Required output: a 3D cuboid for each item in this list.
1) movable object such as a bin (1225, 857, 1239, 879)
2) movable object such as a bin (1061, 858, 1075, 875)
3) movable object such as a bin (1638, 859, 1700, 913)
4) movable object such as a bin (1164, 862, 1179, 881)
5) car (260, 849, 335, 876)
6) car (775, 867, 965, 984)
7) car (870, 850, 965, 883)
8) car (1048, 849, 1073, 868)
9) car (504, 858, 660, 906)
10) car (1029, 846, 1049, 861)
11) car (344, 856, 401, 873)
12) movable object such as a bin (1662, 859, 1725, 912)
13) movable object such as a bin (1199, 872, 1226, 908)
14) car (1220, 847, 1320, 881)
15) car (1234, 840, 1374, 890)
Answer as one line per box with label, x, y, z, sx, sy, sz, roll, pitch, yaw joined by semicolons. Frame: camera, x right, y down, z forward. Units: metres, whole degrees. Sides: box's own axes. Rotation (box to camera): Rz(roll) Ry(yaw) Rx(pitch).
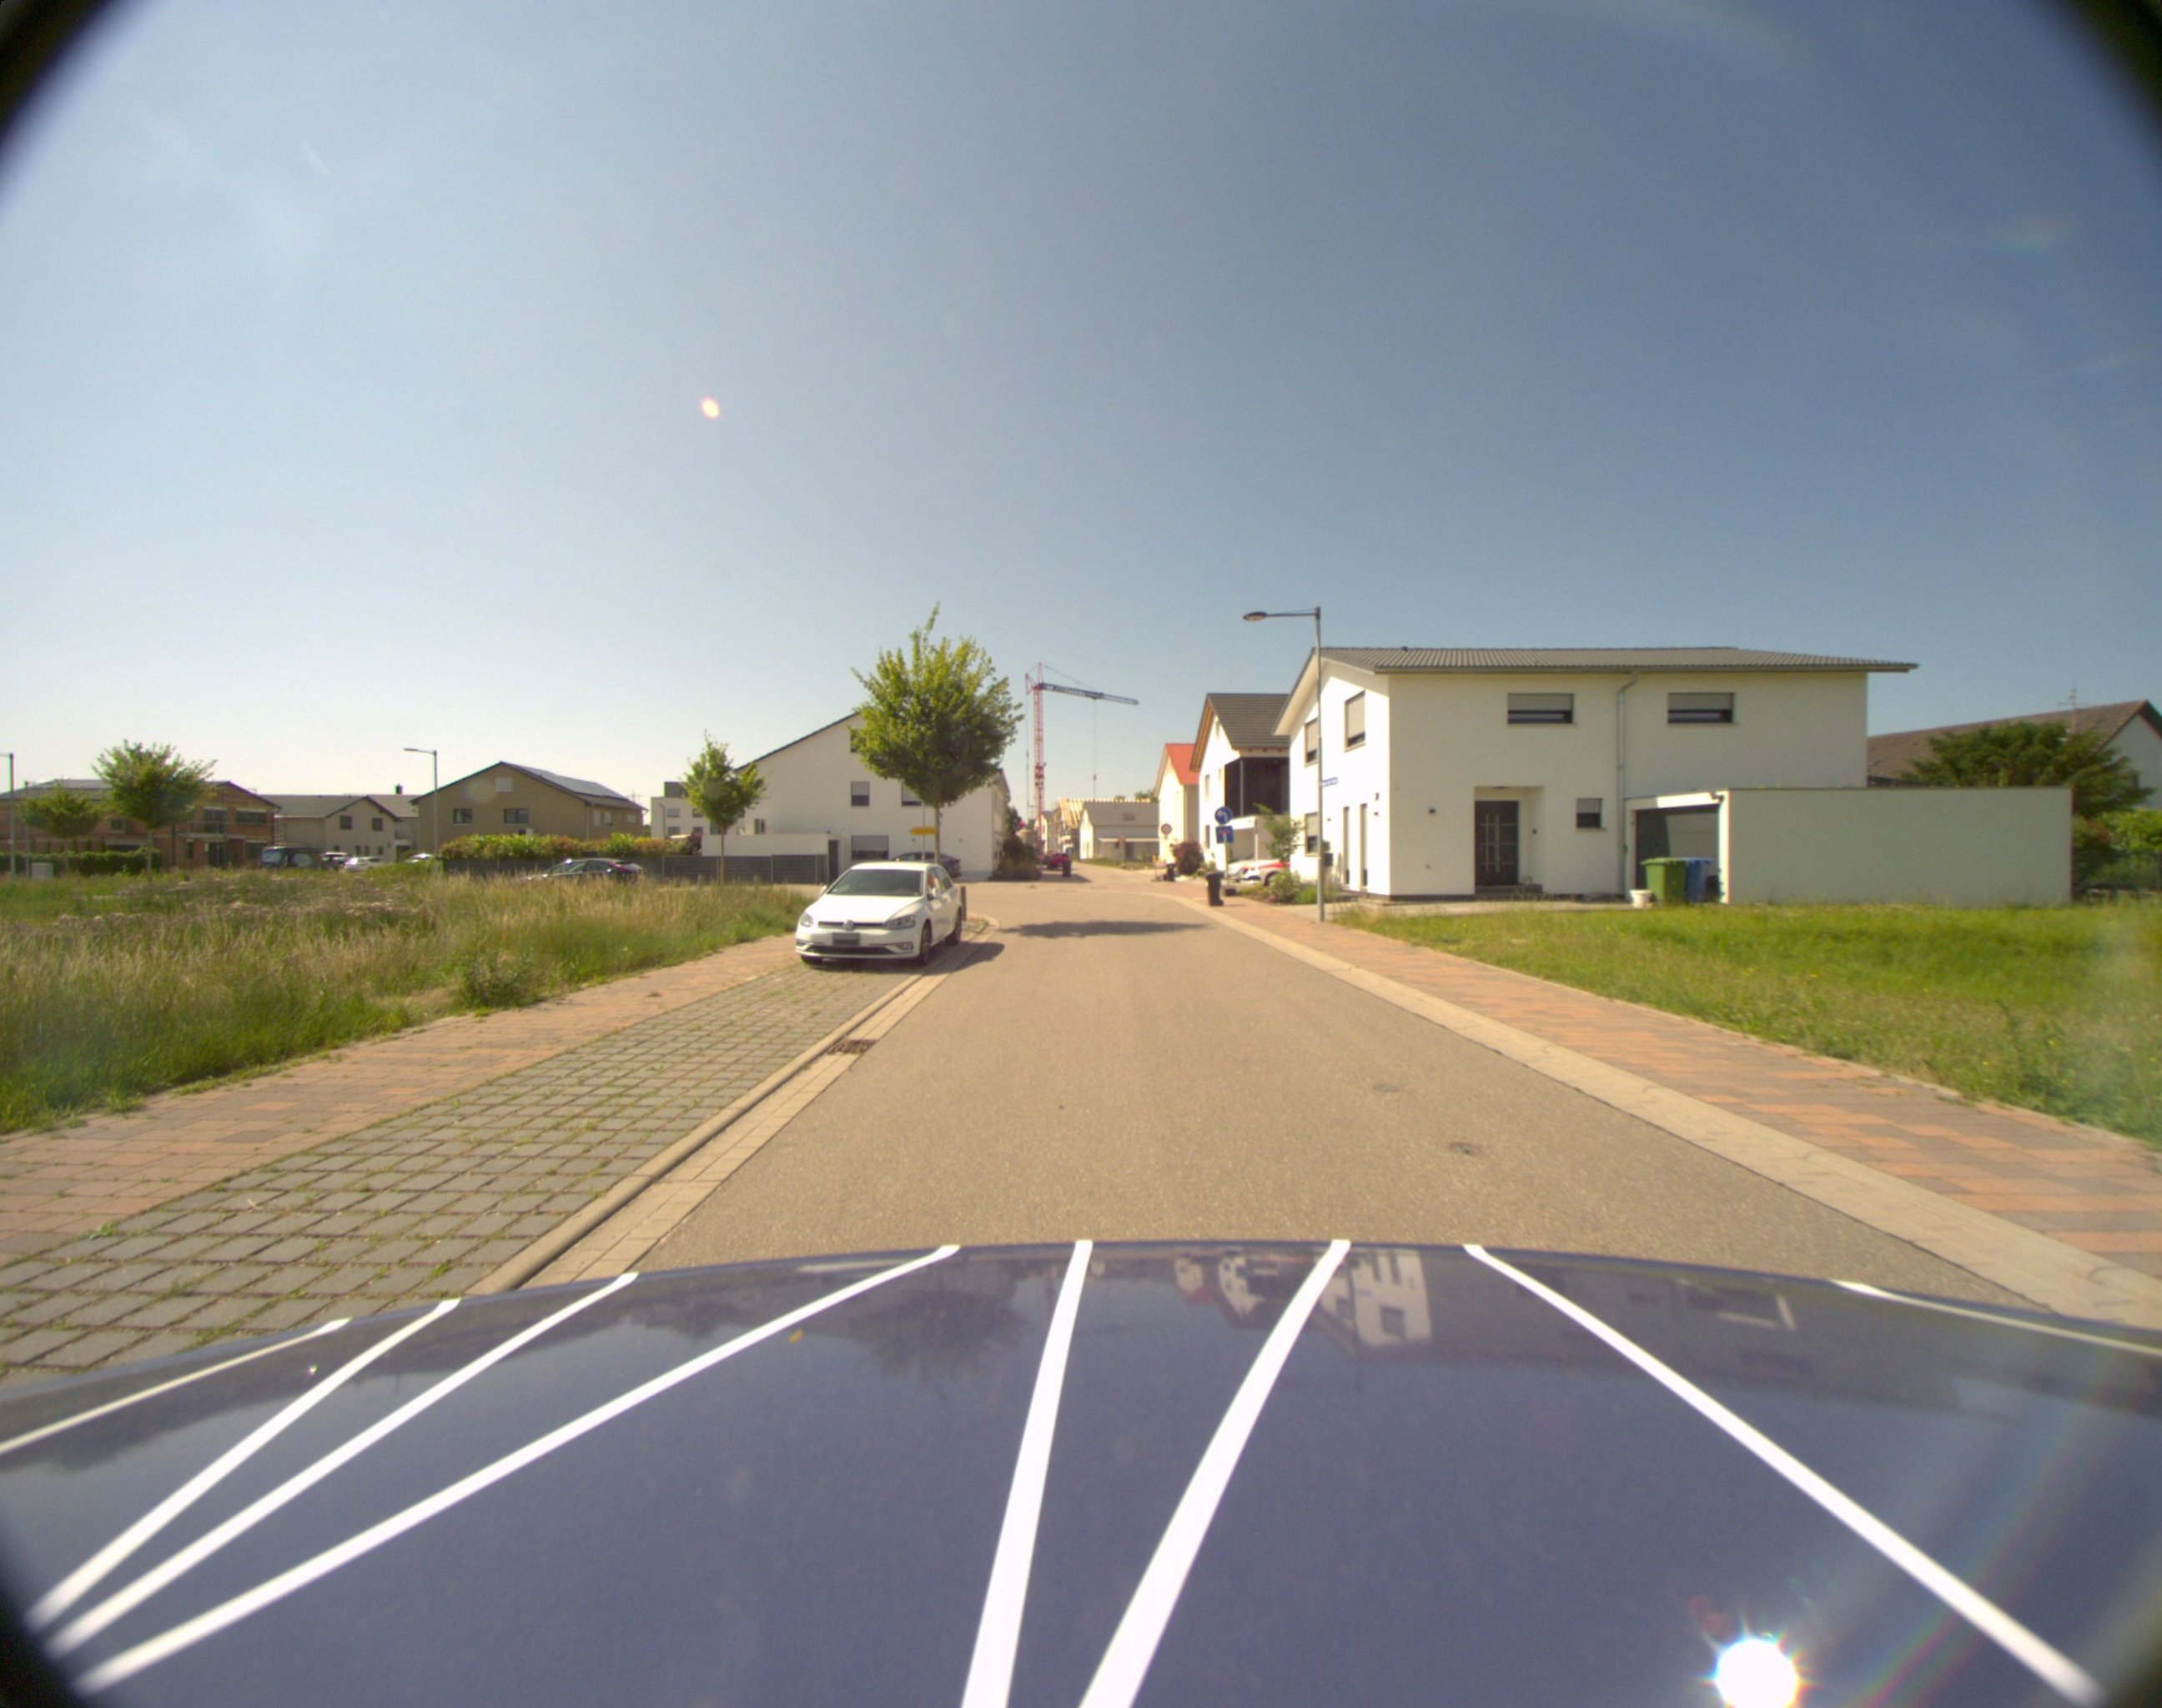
movable object such as a bin;7.646;0.703;38.489;0.500;1.085;0.601;-1;-1;-5
movable object such as a bin;-0.824;0.795;47.699;0.824;1.058;0.589;-1;2;-5
movable object such as a bin;12.439;0.660;16.092;0.661;1.092;0.784;1;1;-1
movable object such as a bin;4.495;0.847;37.724;0.618;0.931;0.564;-1;0;-5
car;-60.027;0.643;58.320;2.000;2.002;3.996;0;1;-9
car;-3.052;0.957;11.928;1.780;1.411;4.165;1;0;0
car;-8.079;0.597;37.825;4.348;1.549;1.960;0;0;-2
car;-1.772;0.341;65.456;1.912;1.470;3.997;-1;2;-5
car;-17.585;0.961;26.950;4.193;1.485;1.848;-1;2;-7
car;-4.674;-0.086;84.829;1.804;1.609;3.671;-1;2;-10
car;-60.920;0.850;65.449;1.668;1.392;3.917;0;0;-9
movable object such as a bin;13.066;0.652;16.221;0.671;1.092;0.808;1;1;1
movable object such as a bin;3.610;0.983;20.868;0.625;0.943;0.499;-1;2;-5
car;8.737;0.458;35.341;4.164;1.553;1.744;0;1;-6
car;8.452;0.396;29.066;4.749;1.864;1.938;0;1;-3
